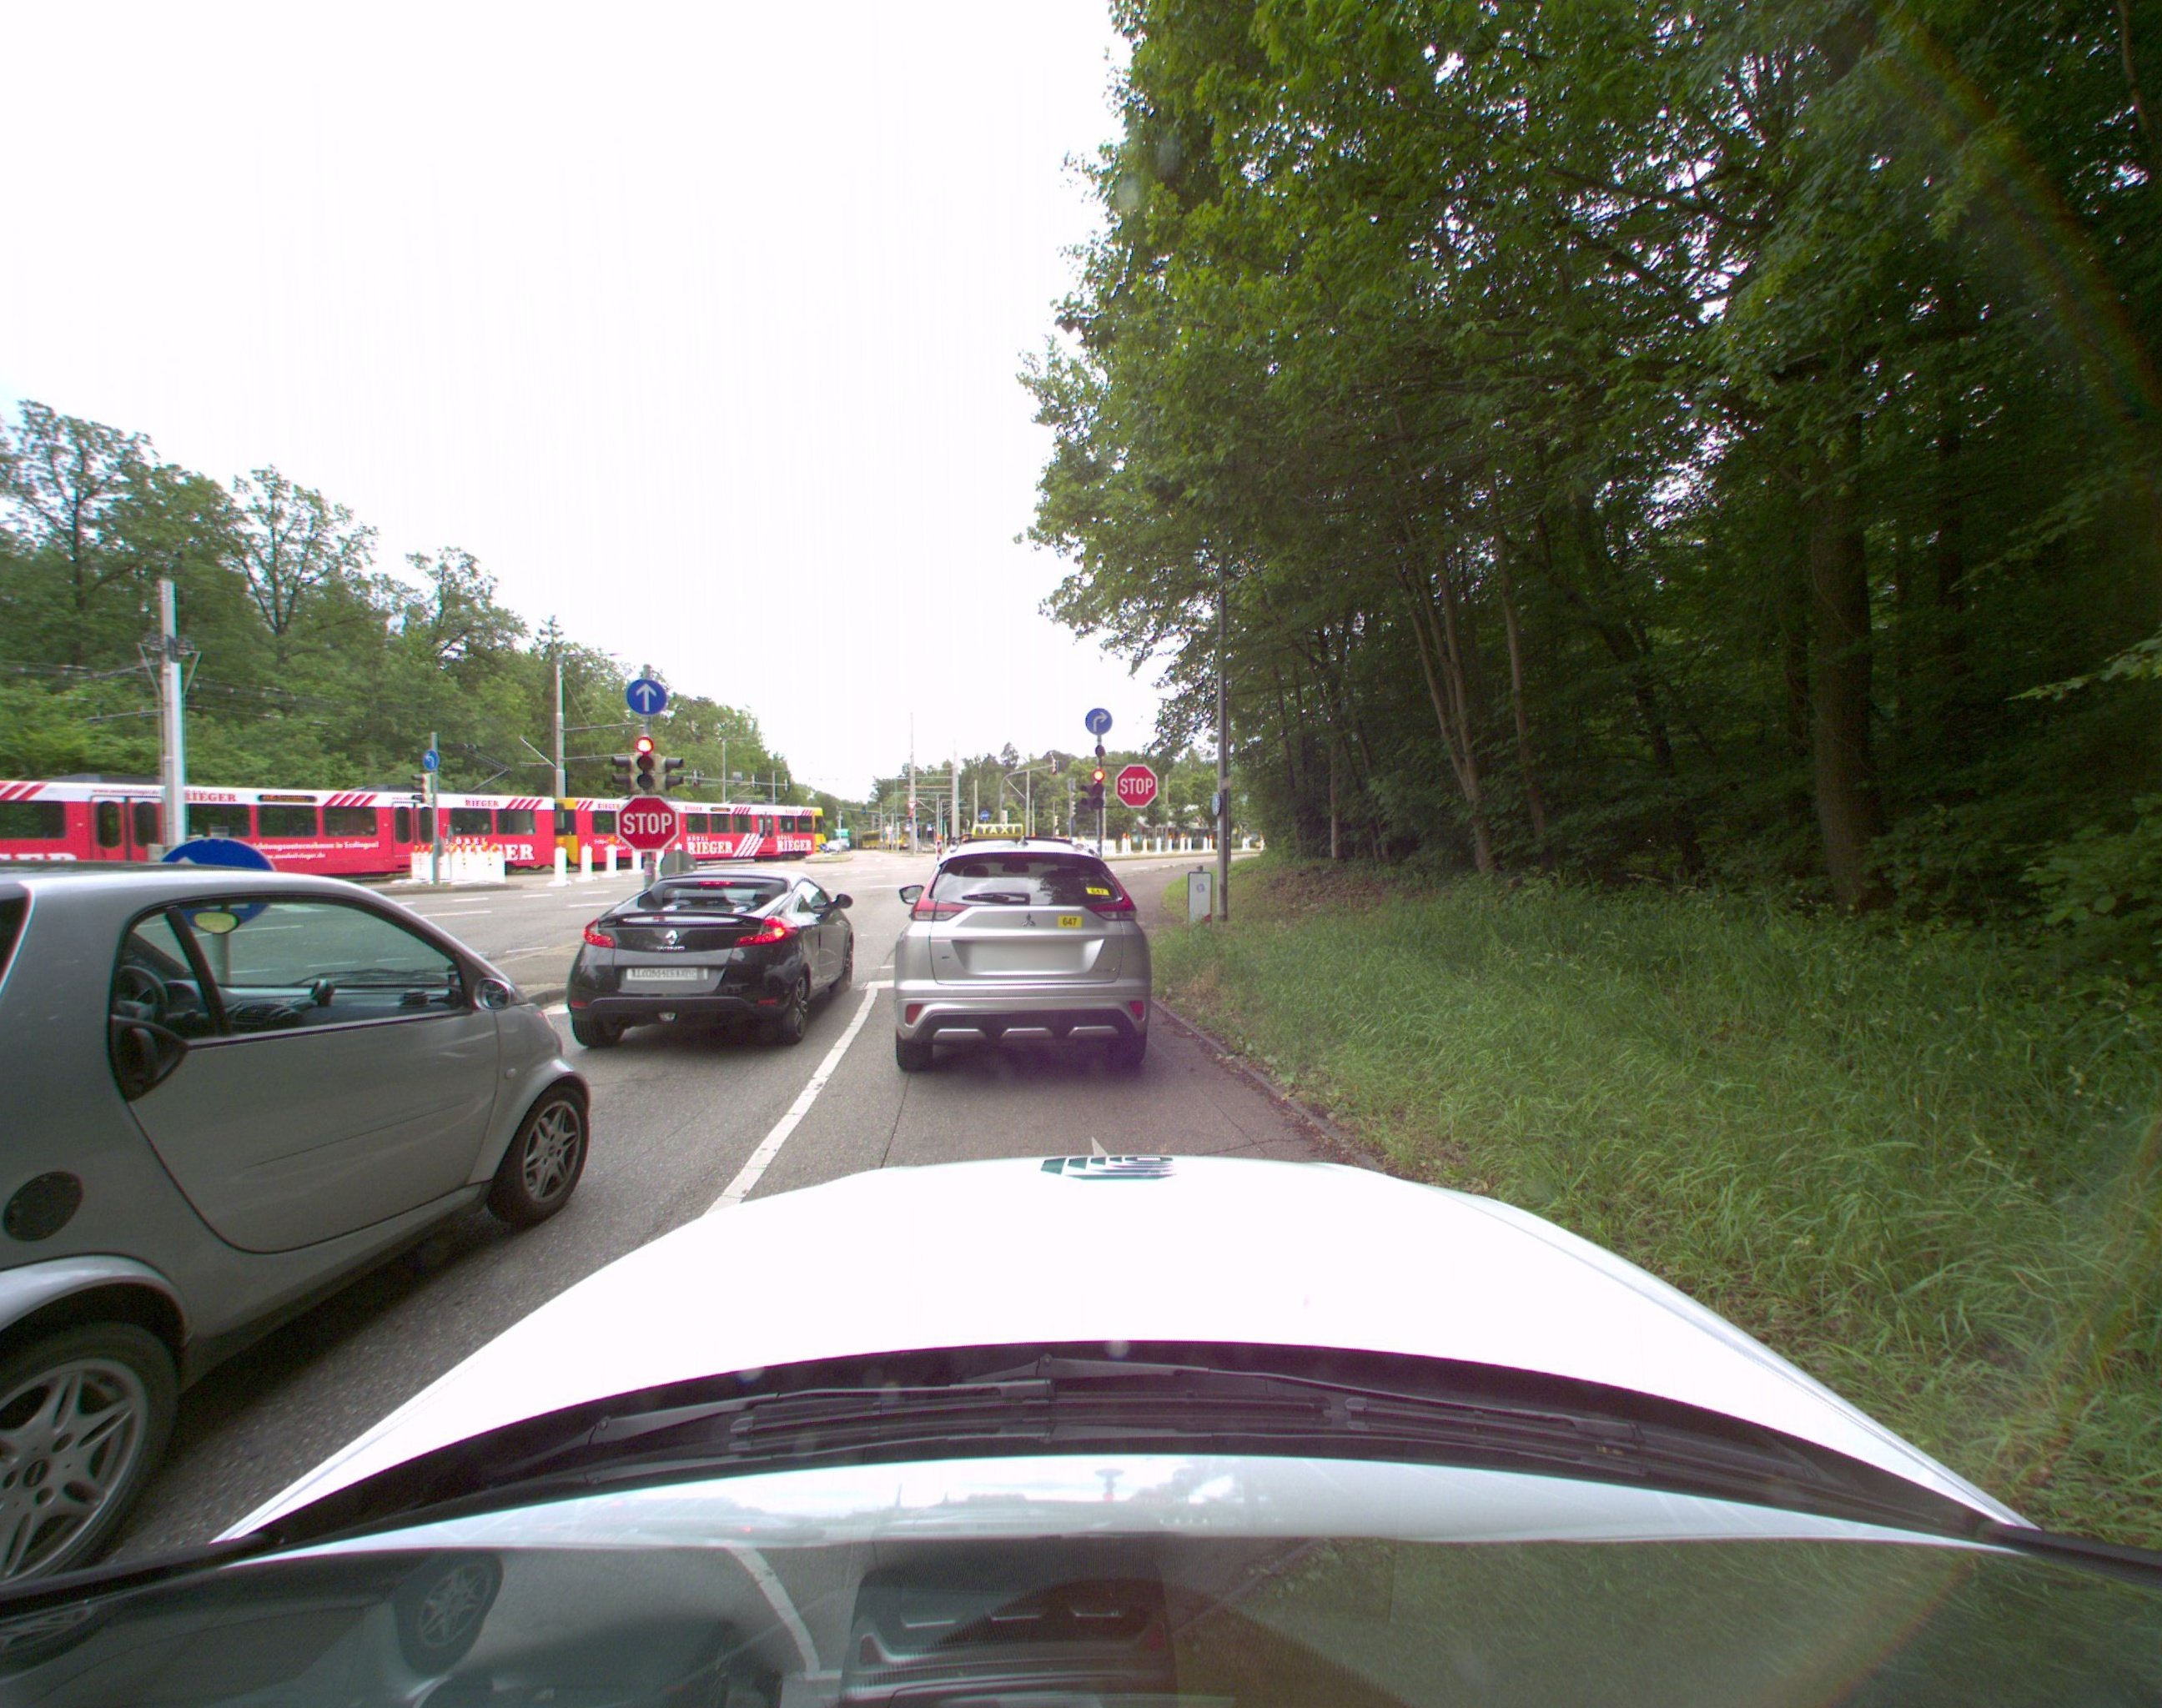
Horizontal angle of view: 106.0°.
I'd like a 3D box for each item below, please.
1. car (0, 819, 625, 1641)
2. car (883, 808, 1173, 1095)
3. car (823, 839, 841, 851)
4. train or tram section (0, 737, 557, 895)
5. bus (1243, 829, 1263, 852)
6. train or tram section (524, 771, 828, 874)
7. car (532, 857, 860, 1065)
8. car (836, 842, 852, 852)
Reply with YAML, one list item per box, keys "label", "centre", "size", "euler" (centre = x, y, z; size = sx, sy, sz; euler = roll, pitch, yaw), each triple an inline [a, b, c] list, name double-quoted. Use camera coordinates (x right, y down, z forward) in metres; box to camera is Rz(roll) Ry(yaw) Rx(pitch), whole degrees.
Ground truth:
- label: "car"
  centre: [-2.909, 0.727, 2.611]
  size: [1.455, 1.586, 2.724]
  euler: [-1, 1, -4]
- label: "car"
  centre: [-0.519, 0.580, 6.944]
  size: [1.772, 1.748, 3.772]
  euler: [1, 1, -7]
- label: "car"
  centre: [-32.940, -1.154, 107.858]
  size: [1.964, 1.541, 4.376]
  euler: [-1, 1, -13]
- label: "train or tram section"
  centre: [-28.960, -1.036, 28.542]
  size: [2.928, 4.418, 18.841]
  euler: [-1, -1, 27]
- label: "bus"
  centre: [28.615, -2.296, 135.604]
  size: [2.804, 3.602, 12.841]
  euler: [0, 1, 10]
- label: "train or tram section"
  centre: [-21.237, -1.358, 45.849]
  size: [2.922, 4.650, 18.634]
  euler: [-1, -1, 19]
- label: "car"
  centre: [-3.200, 0.755, 7.560]
  size: [1.773, 1.361, 3.466]
  euler: [-1, 1, -9]
- label: "car"
  centre: [-35.241, -1.062, 121.084]
  size: [1.964, 1.540, 4.291]
  euler: [-1, 1, -13]
